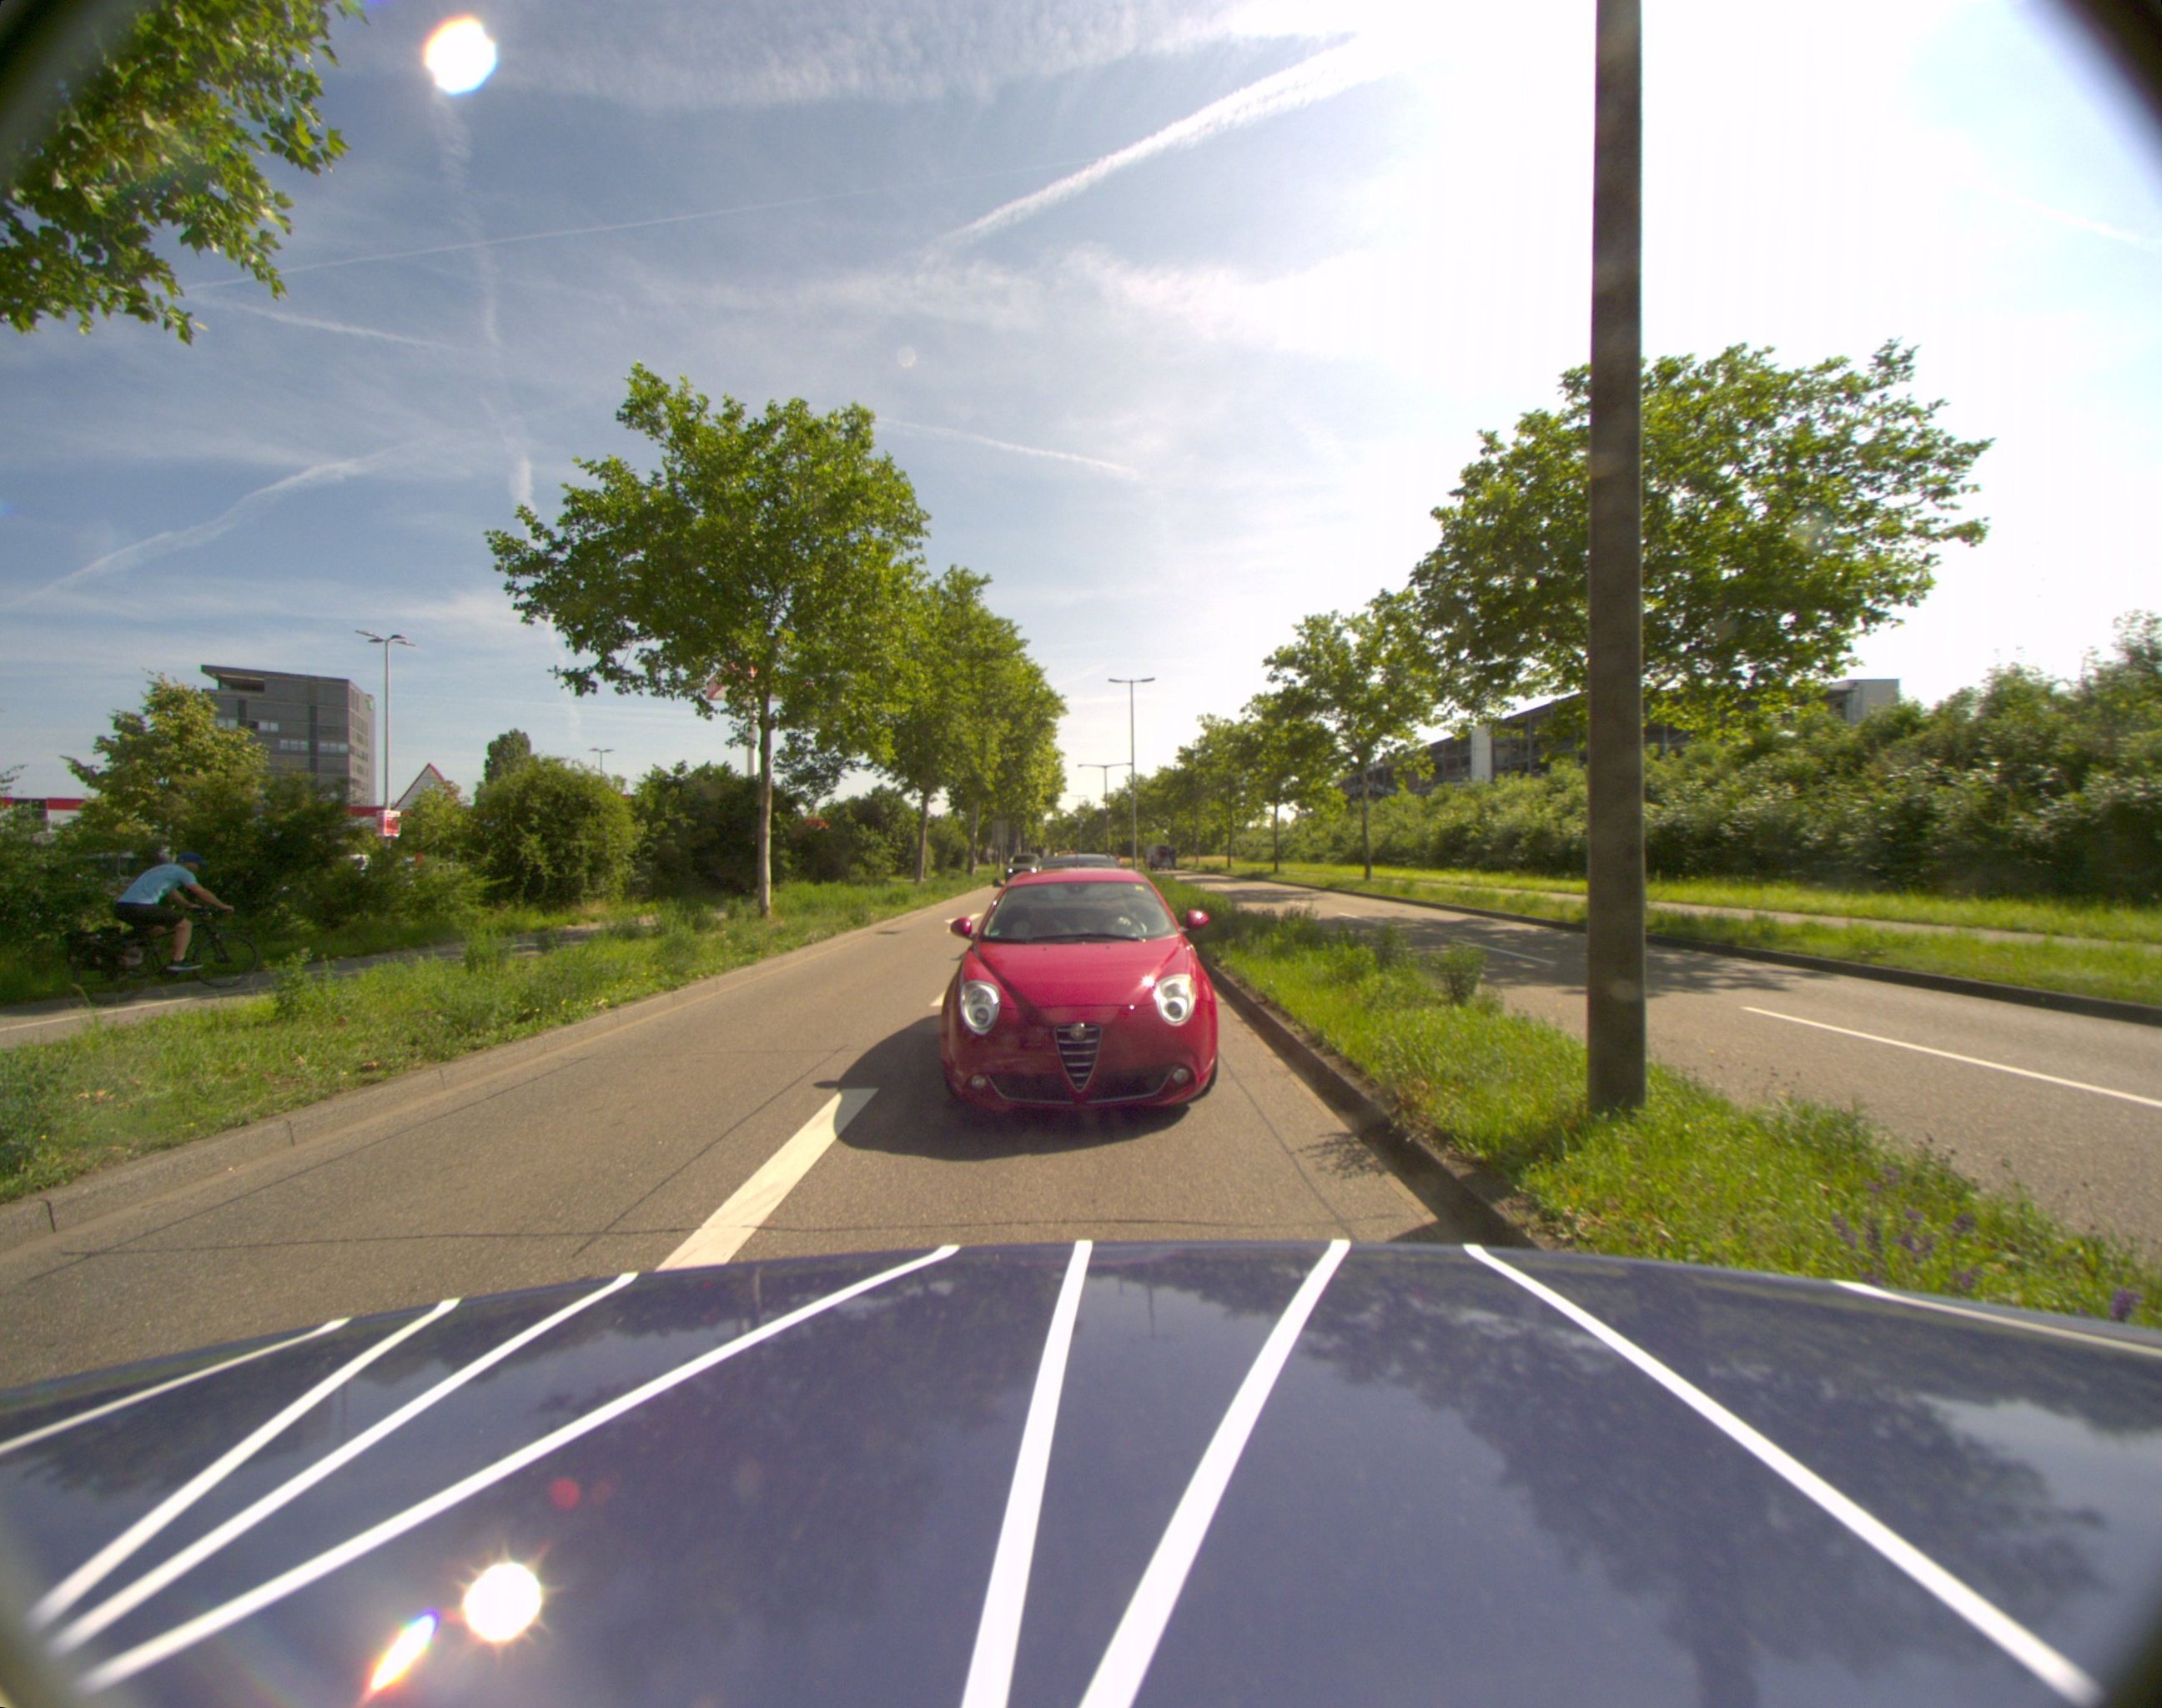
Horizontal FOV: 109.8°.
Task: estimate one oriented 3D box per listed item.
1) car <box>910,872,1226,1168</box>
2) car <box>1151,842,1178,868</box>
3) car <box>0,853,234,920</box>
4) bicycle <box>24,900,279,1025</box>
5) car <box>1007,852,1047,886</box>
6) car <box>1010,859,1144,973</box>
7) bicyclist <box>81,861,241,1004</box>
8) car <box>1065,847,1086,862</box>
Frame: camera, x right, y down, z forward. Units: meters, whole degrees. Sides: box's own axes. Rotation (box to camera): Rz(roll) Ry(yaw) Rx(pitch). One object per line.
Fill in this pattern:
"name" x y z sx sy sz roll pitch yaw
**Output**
"car" -0.041 0.950 6.063 1.658 1.430 3.908 -2 0 1
"car" 7.998 0.061 73.122 2.064 2.396 5.538 0 0 0
"car" -25.075 0.774 19.689 3.870 1.576 1.844 -1 1 -38
"bicycle" -11.129 1.236 9.228 0.687 1.230 1.934 0 1 1
"car" -2.804 0.730 40.297 1.770 1.649 4.495 -2 0 0
"car" -0.024 0.894 12.774 1.874 1.536 4.081 -1 0 1
"bicyclist" -11.132 0.908 9.235 0.687 1.622 1.002 0 1 1
"car" -0.964 0.072 125.537 2.066 2.396 5.997 0 0 -15
